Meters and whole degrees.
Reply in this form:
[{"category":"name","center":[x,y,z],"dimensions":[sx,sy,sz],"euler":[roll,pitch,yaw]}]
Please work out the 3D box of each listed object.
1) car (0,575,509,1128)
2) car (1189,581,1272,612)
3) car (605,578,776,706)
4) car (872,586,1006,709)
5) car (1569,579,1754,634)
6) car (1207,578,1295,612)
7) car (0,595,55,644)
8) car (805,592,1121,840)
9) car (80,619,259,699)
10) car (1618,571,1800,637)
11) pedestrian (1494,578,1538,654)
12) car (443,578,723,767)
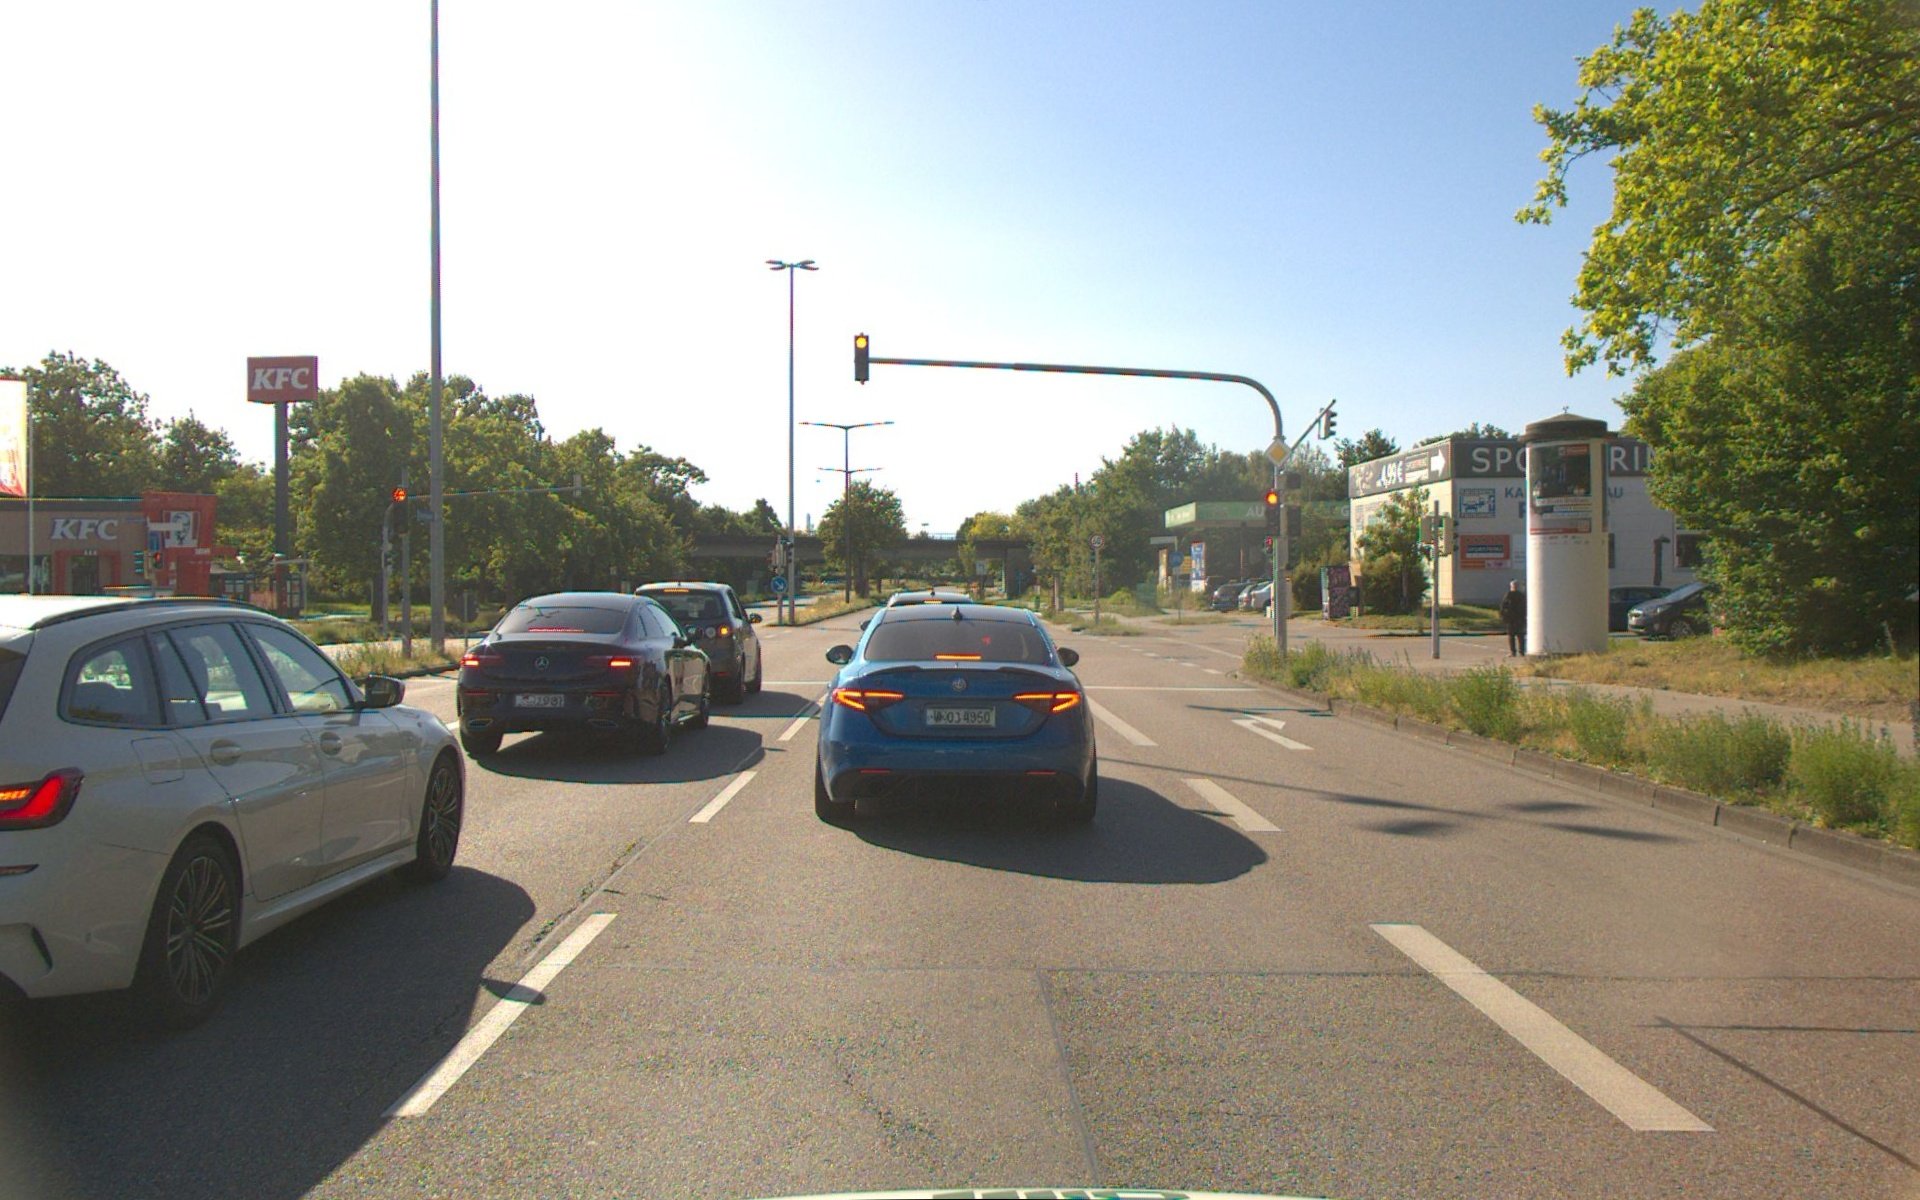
[{"category":"car","center":[-3.389,0.685,6.825],"dimensions":[1.775,1.512,4.596],"euler":[1,0,0]},{"category":"car","center":[14.591,-0.192,89.223],"dimensions":[3.925,1.579,1.990],"euler":[1,0,-18]},{"category":"car","center":[-3.628,0.540,22.988],"dimensions":[1.776,1.578,4.351],"euler":[1,0,-2]},{"category":"car","center":[-0.232,0.613,22.738],"dimensions":[1.669,1.523,3.719],"euler":[1,0,1]},{"category":"car","center":[20.527,0.200,48.494],"dimensions":[4.722,1.493,1.758],"euler":[1,0,-3]},{"category":"car","center":[14.131,-0.244,80.508],"dimensions":[3.905,1.579,2.000],"euler":[1,0,0]},{"category":"car","center":[-35.798,0.723,62.208],"dimensions":[4.026,1.770,1.922],"euler":[1,-1,43]},{"category":"car","center":[0.051,0.707,11.794],"dimensions":[1.870,1.447,3.719],"euler":[1,0,1]},{"category":"car","center":[-19.467,1.401,40.926],"dimensions":[1.764,1.756,4.326],"euler":[1,1,11]},{"category":"car","center":[20.379,0.105,45.081],"dimensions":[4.219,1.678,1.637],"euler":[1,0,-2]},{"category":"pedestrian","center":[12.657,0.359,37.641],"dimensions":[0.800,1.698,0.514],"euler":[1,-1,-1]},{"category":"car","center":[-3.494,0.601,16.186],"dimensions":[1.775,1.578,4.542],"euler":[1,0,-1]}]
